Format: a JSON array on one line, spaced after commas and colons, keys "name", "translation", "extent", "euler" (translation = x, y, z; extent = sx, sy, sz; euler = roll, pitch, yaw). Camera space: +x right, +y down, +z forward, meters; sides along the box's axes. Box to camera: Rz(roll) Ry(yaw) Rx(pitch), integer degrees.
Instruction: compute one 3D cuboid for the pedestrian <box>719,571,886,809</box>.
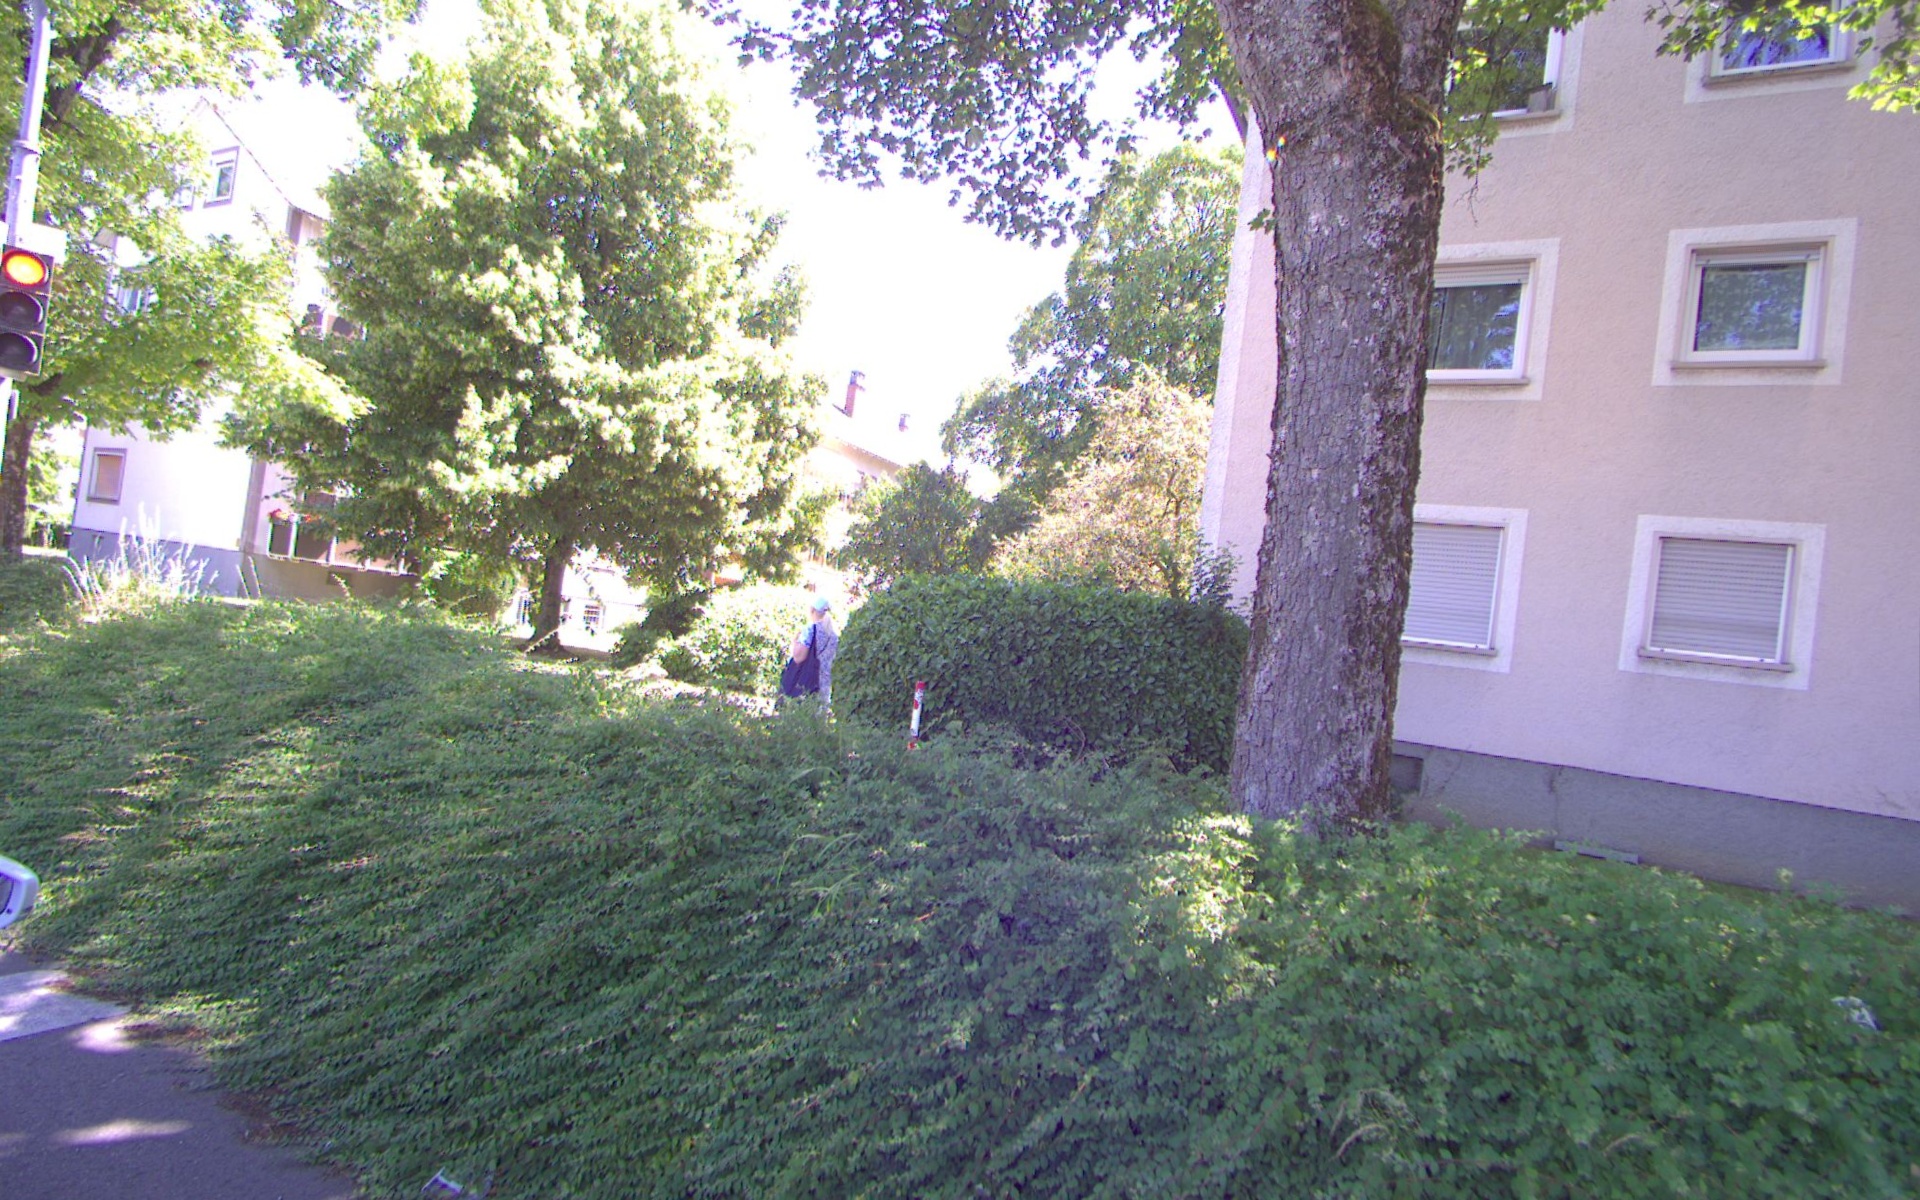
[{"name": "pedestrian", "translation": [-1.204, 0.676, 7.773], "extent": [0.836, 1.653, 0.720], "euler": [7, 0, 23]}]
